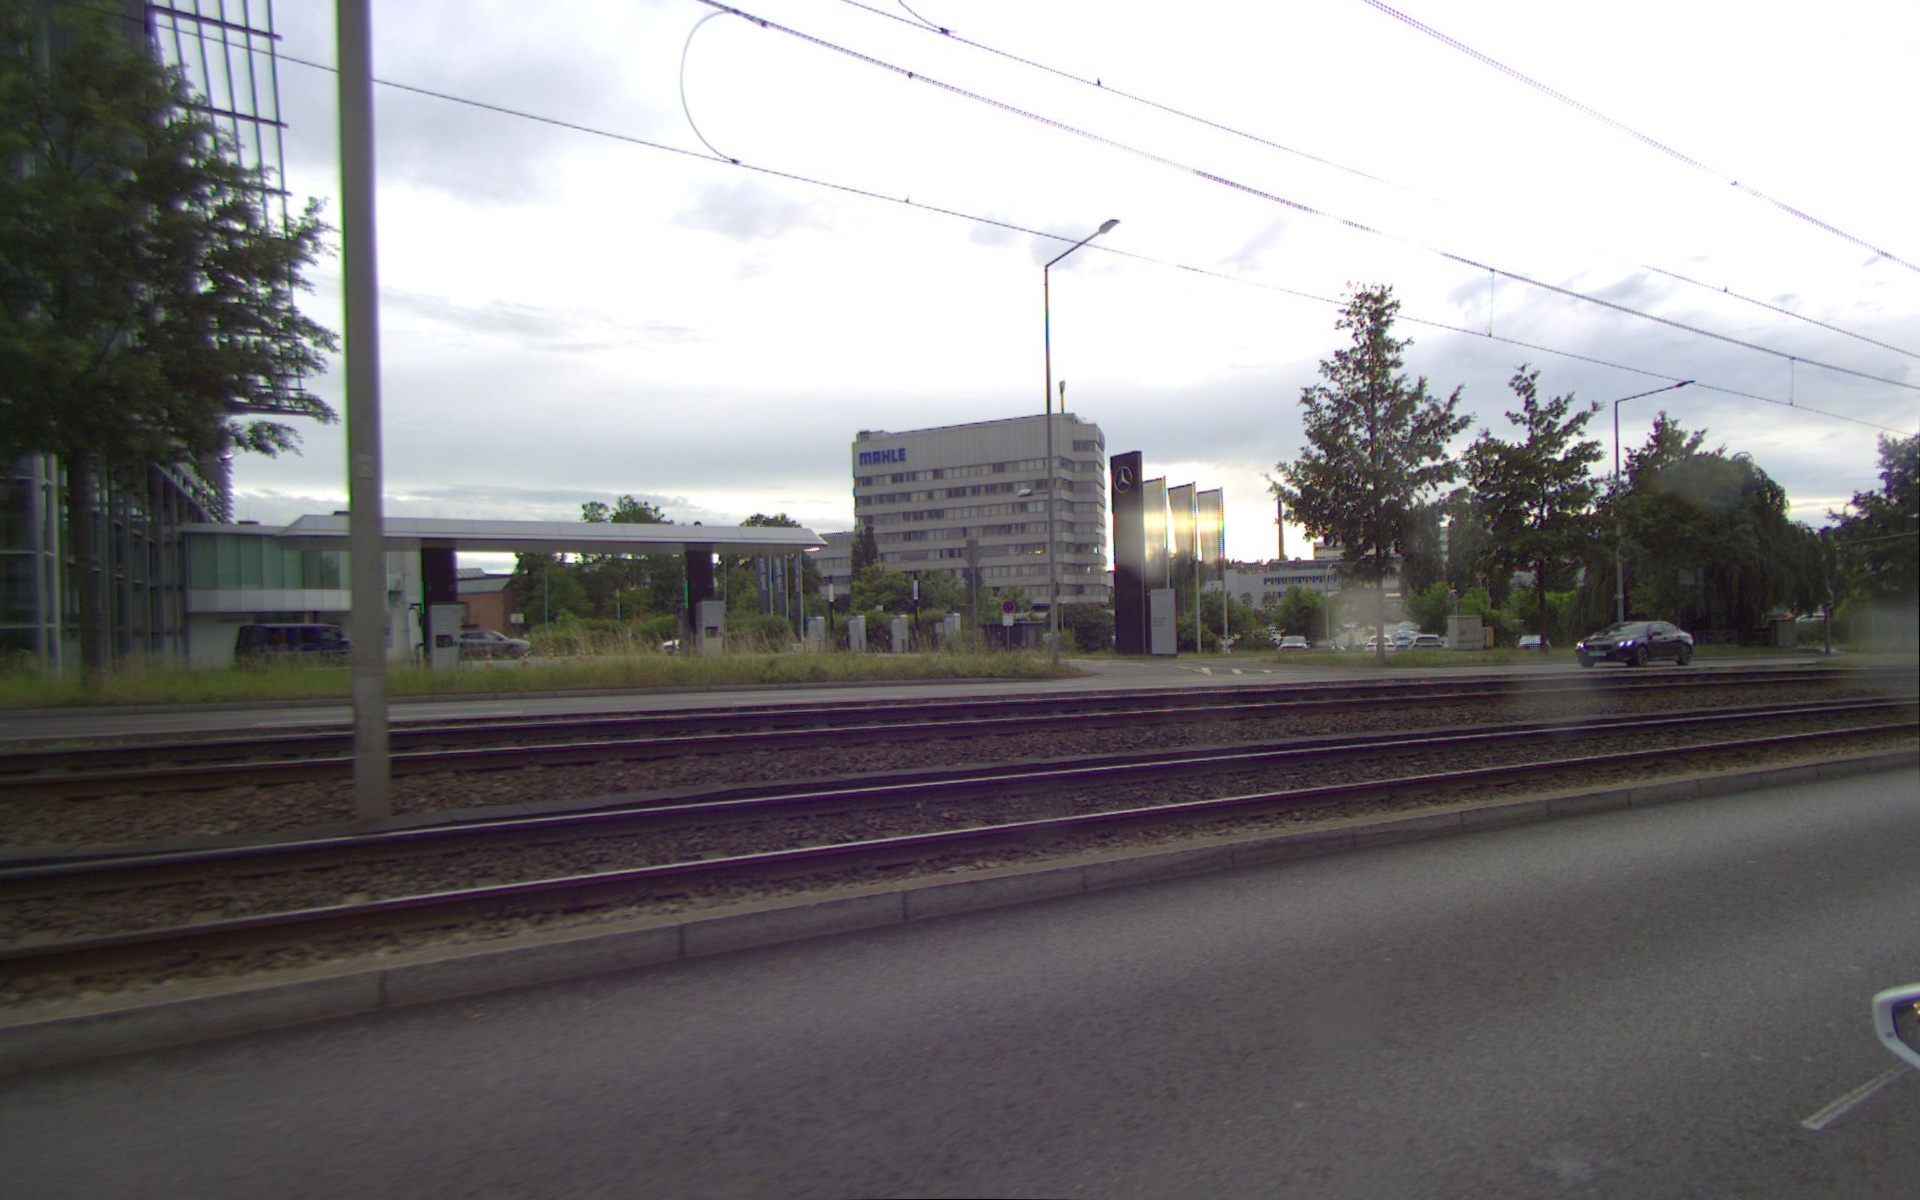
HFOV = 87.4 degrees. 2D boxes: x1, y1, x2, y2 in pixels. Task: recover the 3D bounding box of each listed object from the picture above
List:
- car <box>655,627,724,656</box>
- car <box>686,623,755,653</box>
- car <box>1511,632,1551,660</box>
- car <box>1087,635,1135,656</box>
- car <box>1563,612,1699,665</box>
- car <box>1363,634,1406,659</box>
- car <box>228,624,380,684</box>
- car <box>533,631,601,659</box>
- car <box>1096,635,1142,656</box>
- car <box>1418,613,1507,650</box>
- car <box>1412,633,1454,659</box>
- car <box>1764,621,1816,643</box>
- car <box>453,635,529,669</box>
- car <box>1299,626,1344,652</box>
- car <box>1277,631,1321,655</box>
[{"bbox_3d":[-17.264,2.637,64.233,1.964,1.751,3.994,2,-1,29],"label":"car"},{"bbox_3d":[-15.020,2.394,63.119,1.964,1.751,3.994,2,-1,29],"label":"car"},{"bbox_3d":[34.719,2.773,61.030,1.965,1.530,3.992,2,-1,31],"label":"car"},{"bbox_3d":[13.329,4.004,88.629,3.644,1.696,1.998,2,-1,27],"label":"car"},{"bbox_3d":[21.364,1.229,31.961,4.352,1.540,1.874,1,-4,-31],"label":"car"},{"bbox_3d":[27.911,3.050,65.937,1.729,1.514,3.987,2,-1,35],"label":"car"},{"bbox_3d":[-22.860,1.852,35.136,1.861,1.875,3.993,2,-1,30],"label":"car"},{"bbox_3d":[-27.074,3.102,69.283,1.964,1.751,3.994,2,-1,29],"label":"car"},{"bbox_3d":[14.362,4.077,90.586,3.644,1.696,1.998,2,-1,27],"label":"car"},{"bbox_3d":[24.630,1.548,49.191,3.951,1.672,1.985,3,-1,-28],"label":"car"},{"bbox_3d":[30.413,2.950,64.559,1.729,1.514,3.987,2,-1,35],"label":"car"},{"bbox_3d":[57.371,2.209,69.486,1.963,1.433,3.995,2,-1,28],"label":"car"},{"bbox_3d":[-26.037,2.902,55.890,3.694,1.732,1.773,3,-1,-22],"label":"car"},{"bbox_3d":[23.400,2.527,64.960,1.965,1.530,3.992,2,-1,31],"label":"car"},{"bbox_3d":[23.124,2.946,68.452,1.729,1.514,3.987,2,-1,35],"label":"car"}]
